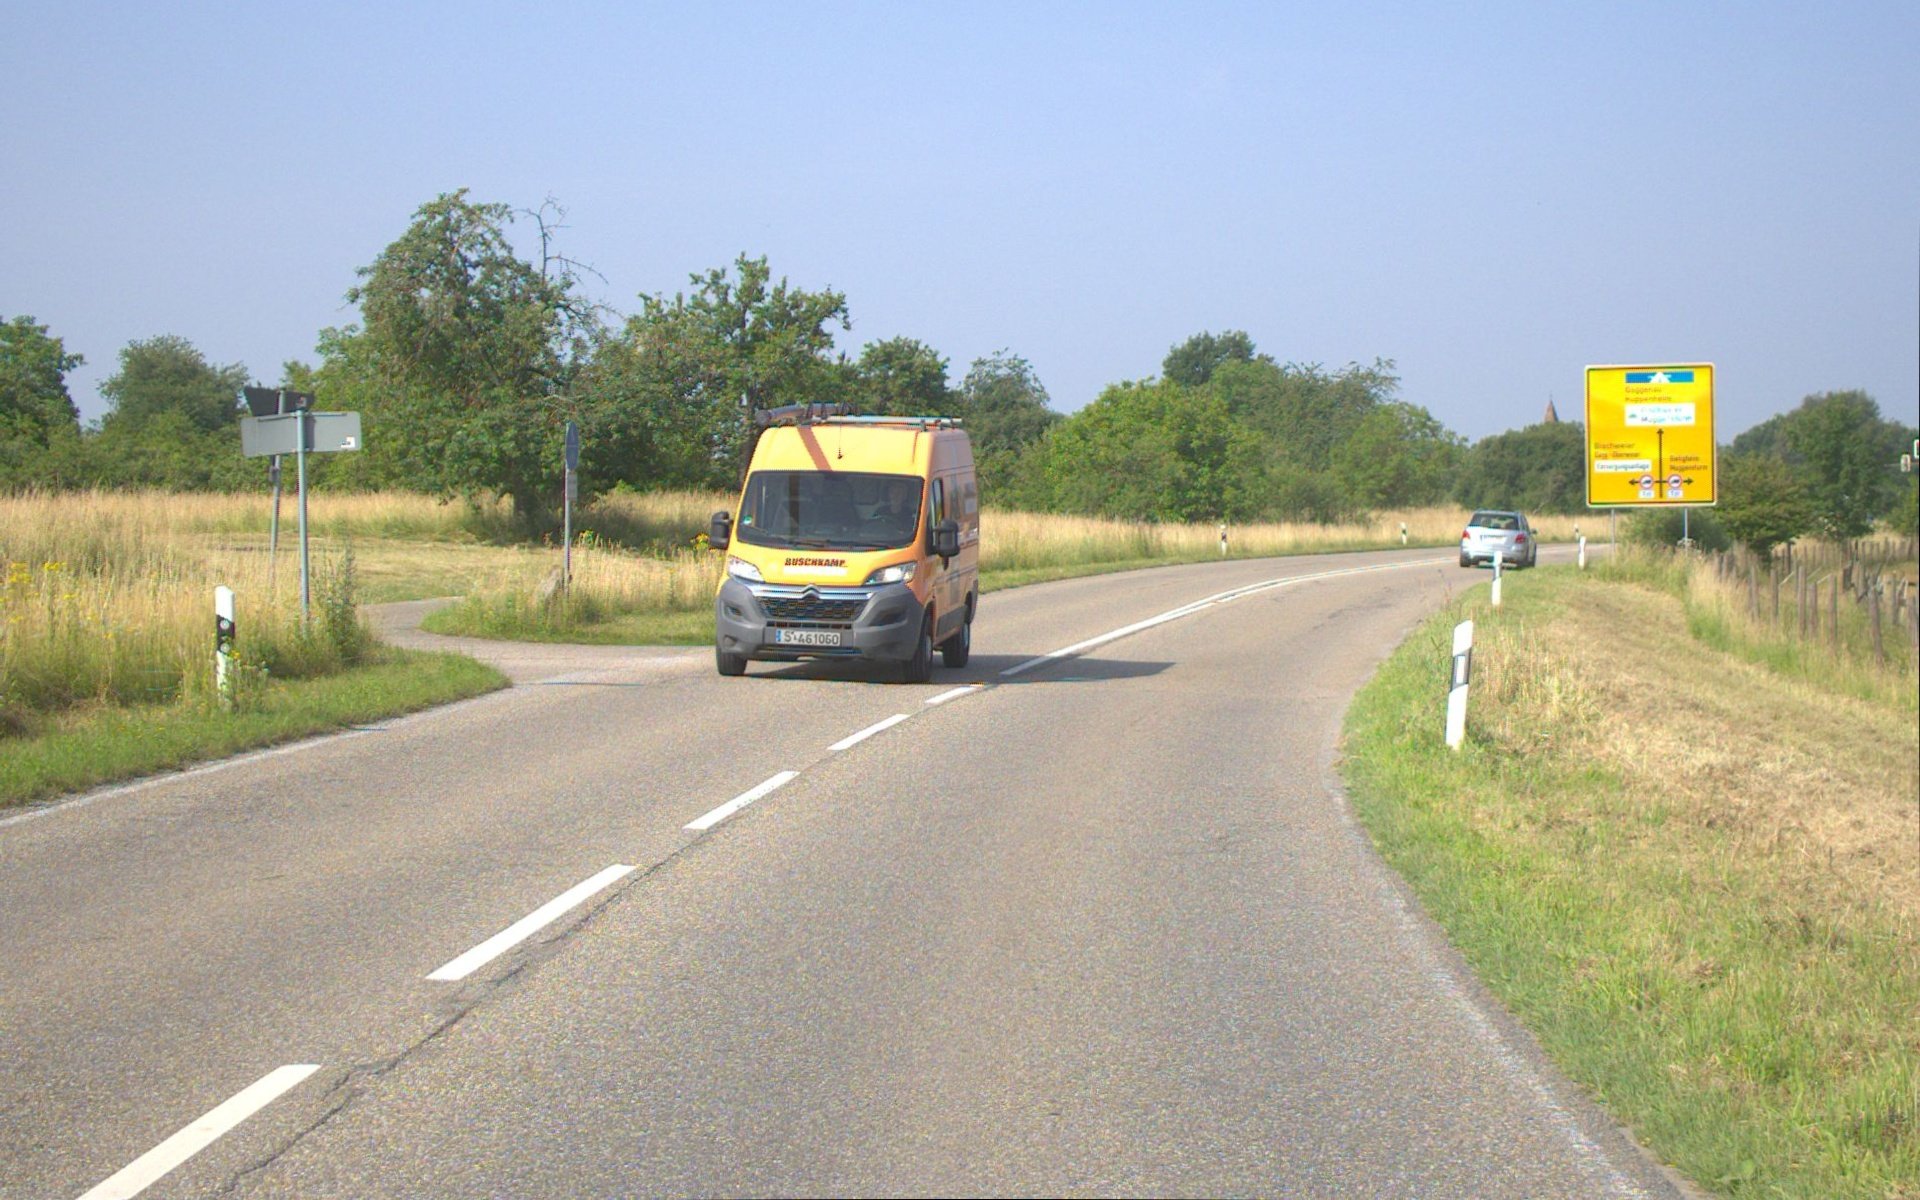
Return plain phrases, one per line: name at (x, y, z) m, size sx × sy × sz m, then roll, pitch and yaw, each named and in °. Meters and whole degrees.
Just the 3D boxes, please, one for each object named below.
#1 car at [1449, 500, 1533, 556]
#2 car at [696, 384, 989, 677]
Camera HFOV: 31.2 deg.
car at (14.877, -2.006, 96.176) m, size 1.900 × 1.506 × 3.997 m, roll 2°, pitch 1°, yaw 15°
car at (-1.081, -0.713, 34.706) m, size 2.124 × 2.686 × 5.267 m, roll 1°, pitch 1°, yaw 7°
